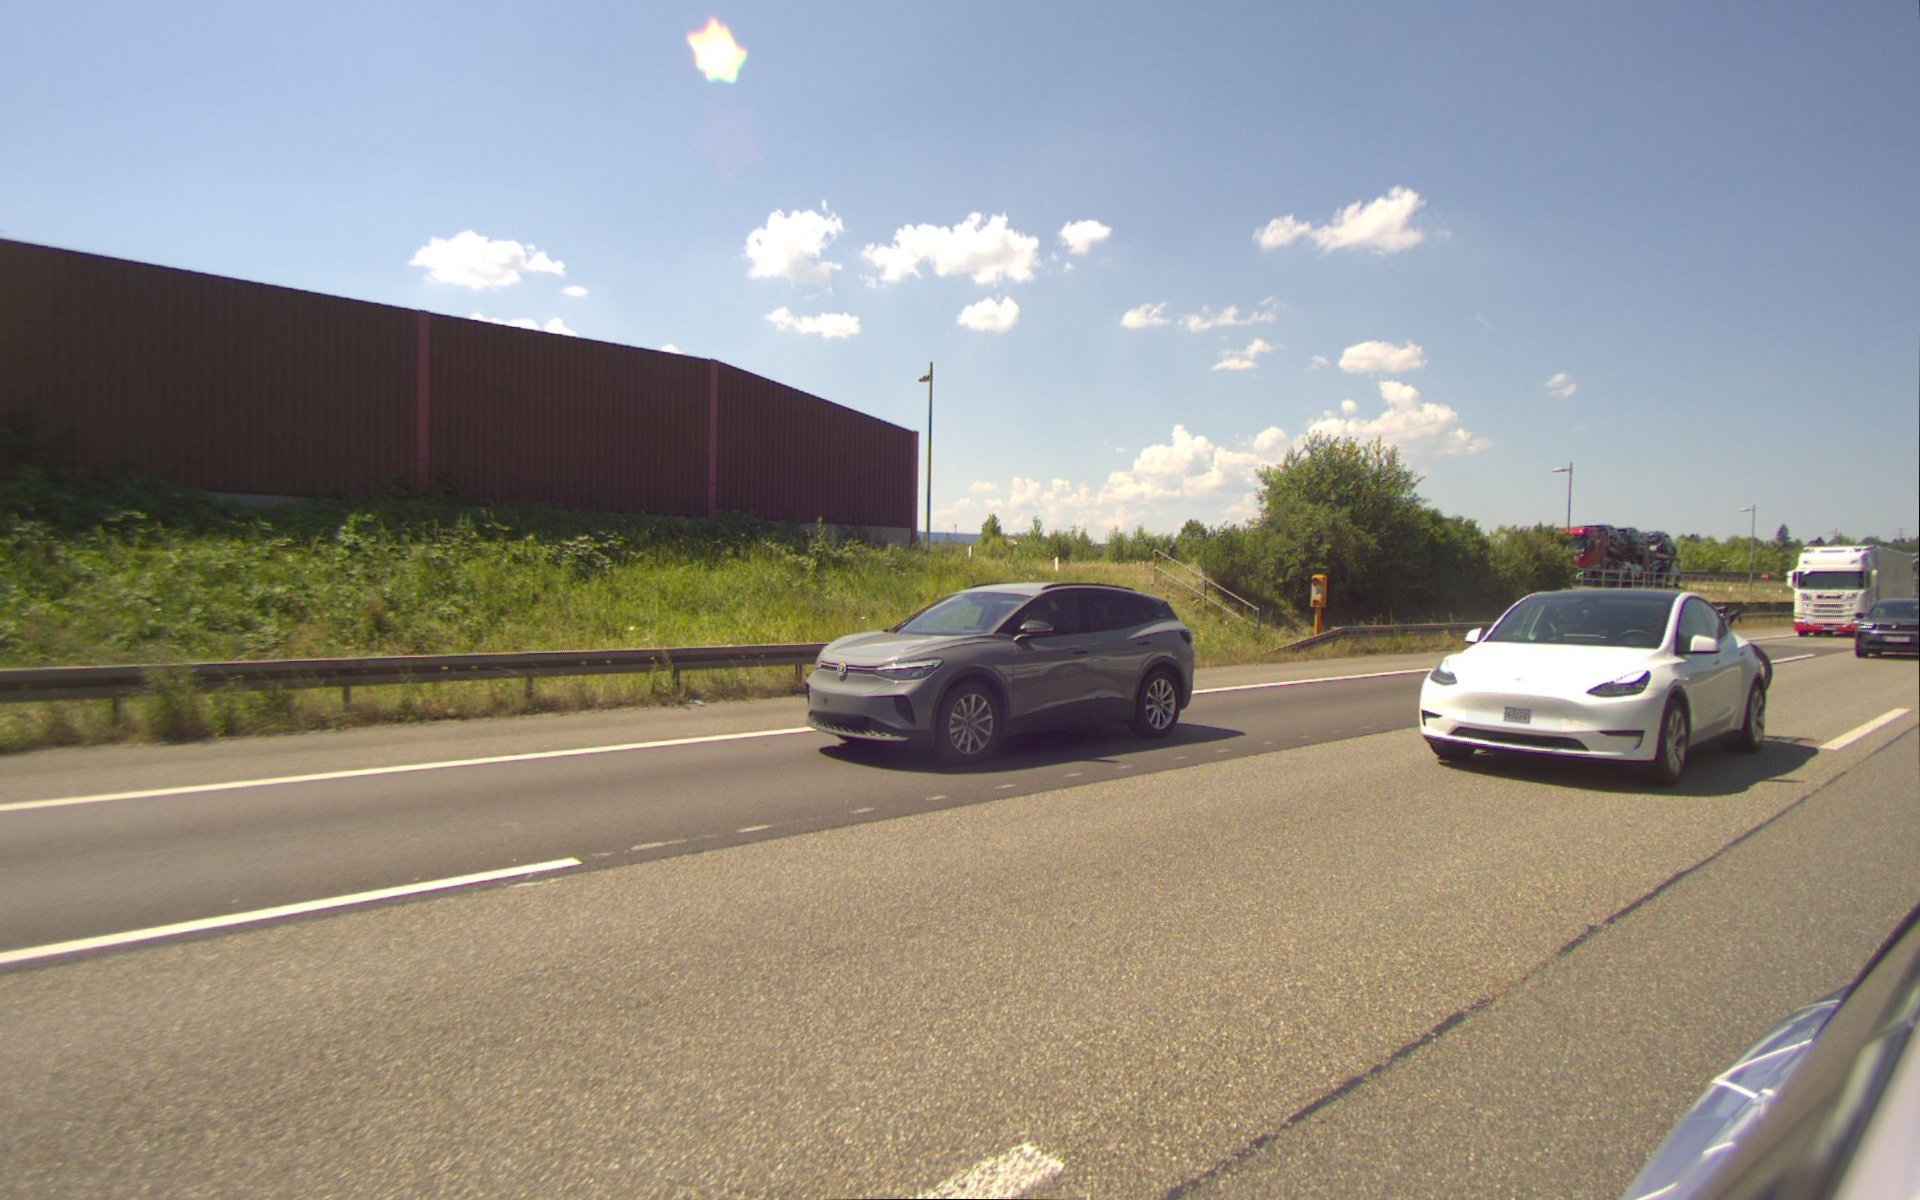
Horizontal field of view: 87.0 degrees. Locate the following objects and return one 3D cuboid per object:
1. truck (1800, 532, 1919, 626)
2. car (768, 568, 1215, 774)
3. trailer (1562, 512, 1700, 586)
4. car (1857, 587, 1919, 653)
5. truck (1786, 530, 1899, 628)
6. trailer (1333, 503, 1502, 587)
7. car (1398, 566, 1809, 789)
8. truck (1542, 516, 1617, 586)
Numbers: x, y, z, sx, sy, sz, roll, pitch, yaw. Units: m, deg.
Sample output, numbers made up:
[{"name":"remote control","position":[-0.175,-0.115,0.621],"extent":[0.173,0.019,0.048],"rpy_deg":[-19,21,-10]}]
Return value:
[{"name":"truck","position":[42.953,-0.956,47.671],"extent":[12.283,3.957,3.074],"rpy_deg":[-1,0,-40]},{"name":"car","position":[0.493,0.536,10.337],"extent":[4.506,1.657,1.871],"rpy_deg":[-1,1,-41]},{"name":"trailer","position":[44.070,-3.123,65.971],"extent":[18.099,4.311,2.610],"rpy_deg":[-1,0,-41]},{"name":"car","position":[26.037,0.491,27.420],"extent":[3.974,1.667,1.955],"rpy_deg":[-1,0,-39]},{"name":"truck","position":[37.788,-0.877,43.310],"extent":[3.779,3.957,3.075],"rpy_deg":[-1,0,-40]},{"name":"trailer","position":[25.672,-2.853,56.139],"extent":[14.012,4.134,3.057],"rpy_deg":[-1,0,-42]},{"name":"car","position":[6.615,0.535,10.063],"extent":[5.503,1.657,1.954],"rpy_deg":[-1,0,-41]},{"name":"truck","position":[36.347,-2.812,59.353],"extent":[3.930,3.875,2.607],"rpy_deg":[-1,0,-40]}]
